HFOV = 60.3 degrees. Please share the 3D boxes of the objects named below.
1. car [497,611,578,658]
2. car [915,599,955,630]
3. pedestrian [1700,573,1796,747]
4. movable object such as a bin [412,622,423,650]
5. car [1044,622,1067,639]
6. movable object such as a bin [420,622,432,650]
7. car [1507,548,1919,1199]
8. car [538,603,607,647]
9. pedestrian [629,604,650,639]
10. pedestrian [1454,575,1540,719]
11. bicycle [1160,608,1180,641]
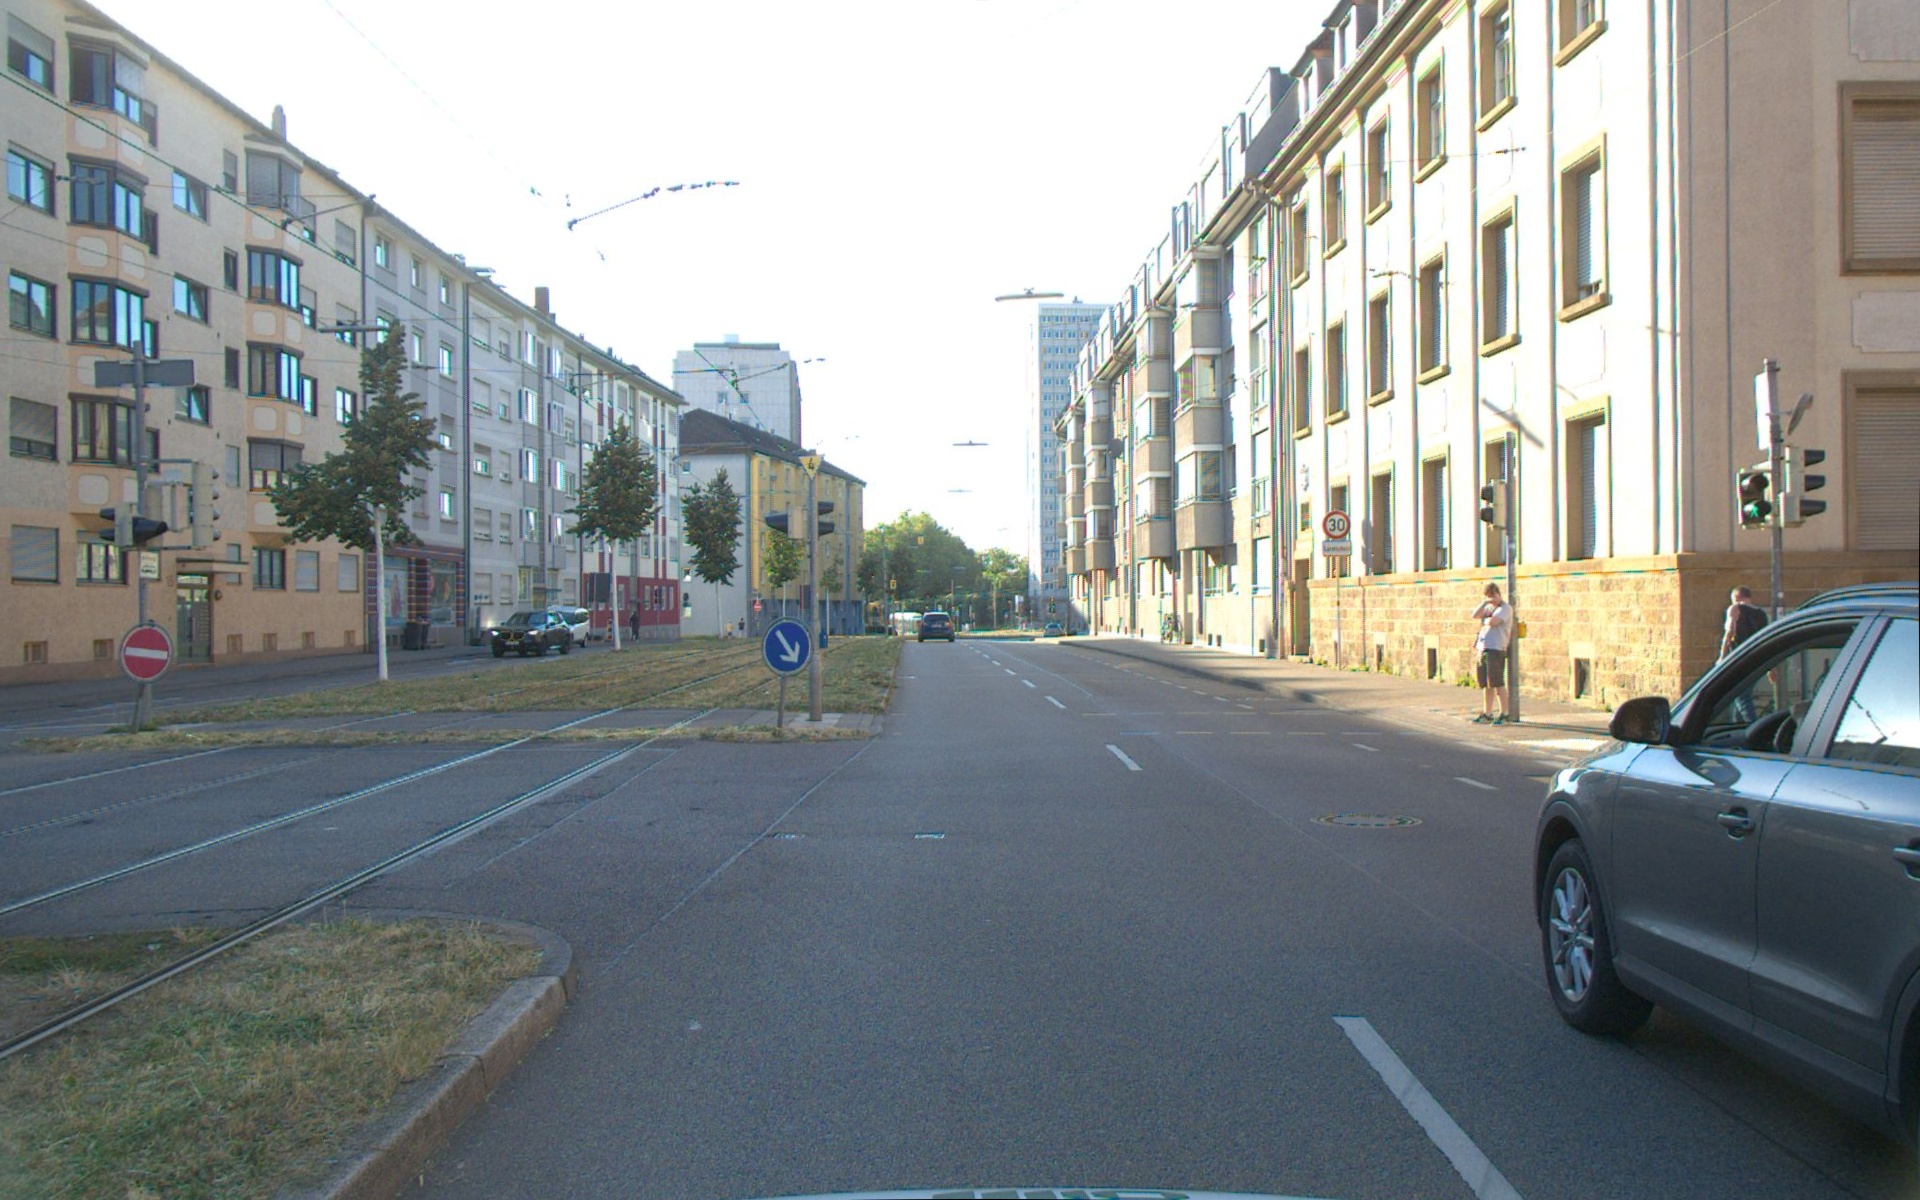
[{"bbox_3d":[-15.823,1.256,62.130,1.858,1.662,4.746,-1,-1,-1],"label":"car"},{"bbox_3d":[-1.179,0.735,81.144,1.887,1.482,4.327,1,-1,0],"label":"car"},{"bbox_3d":[8.322,0.623,17.500,0.616,1.789,0.825,1,-1,-1],"label":"pedestrian"},{"bbox_3d":[-20.459,1.360,62.362,0.292,1.055,0.441,1,-1,-2],"label":"movable object such as a bin"},{"bbox_3d":[8.985,2.850,155.950,1.951,1.591,4.002,0,-1,6],"label":"car"},{"bbox_3d":[-20.372,1.362,63.090,0.292,1.055,0.441,1,-1,-2],"label":"movable object such as a bin"},{"bbox_3d":[3.031,0.691,4.617,1.662,1.580,4.226,1,-1,1],"label":"car"},{"bbox_3d":[-18.144,1.187,77.588,1.952,1.959,4.543,0,-1,2],"label":"car"},{"bbox_3d":[-19.060,1.297,98.323,0.984,2.071,0.886,0,-1,6],"label":"pedestrian"},{"bbox_3d":[6.834,0.593,21.092,0.818,1.793,0.823,1,-1,-1],"label":"pedestrian"},{"bbox_3d":[7.201,0.834,56.809,0.376,1.115,1.503,-1,-1,-3],"label":"bicycle"}]
